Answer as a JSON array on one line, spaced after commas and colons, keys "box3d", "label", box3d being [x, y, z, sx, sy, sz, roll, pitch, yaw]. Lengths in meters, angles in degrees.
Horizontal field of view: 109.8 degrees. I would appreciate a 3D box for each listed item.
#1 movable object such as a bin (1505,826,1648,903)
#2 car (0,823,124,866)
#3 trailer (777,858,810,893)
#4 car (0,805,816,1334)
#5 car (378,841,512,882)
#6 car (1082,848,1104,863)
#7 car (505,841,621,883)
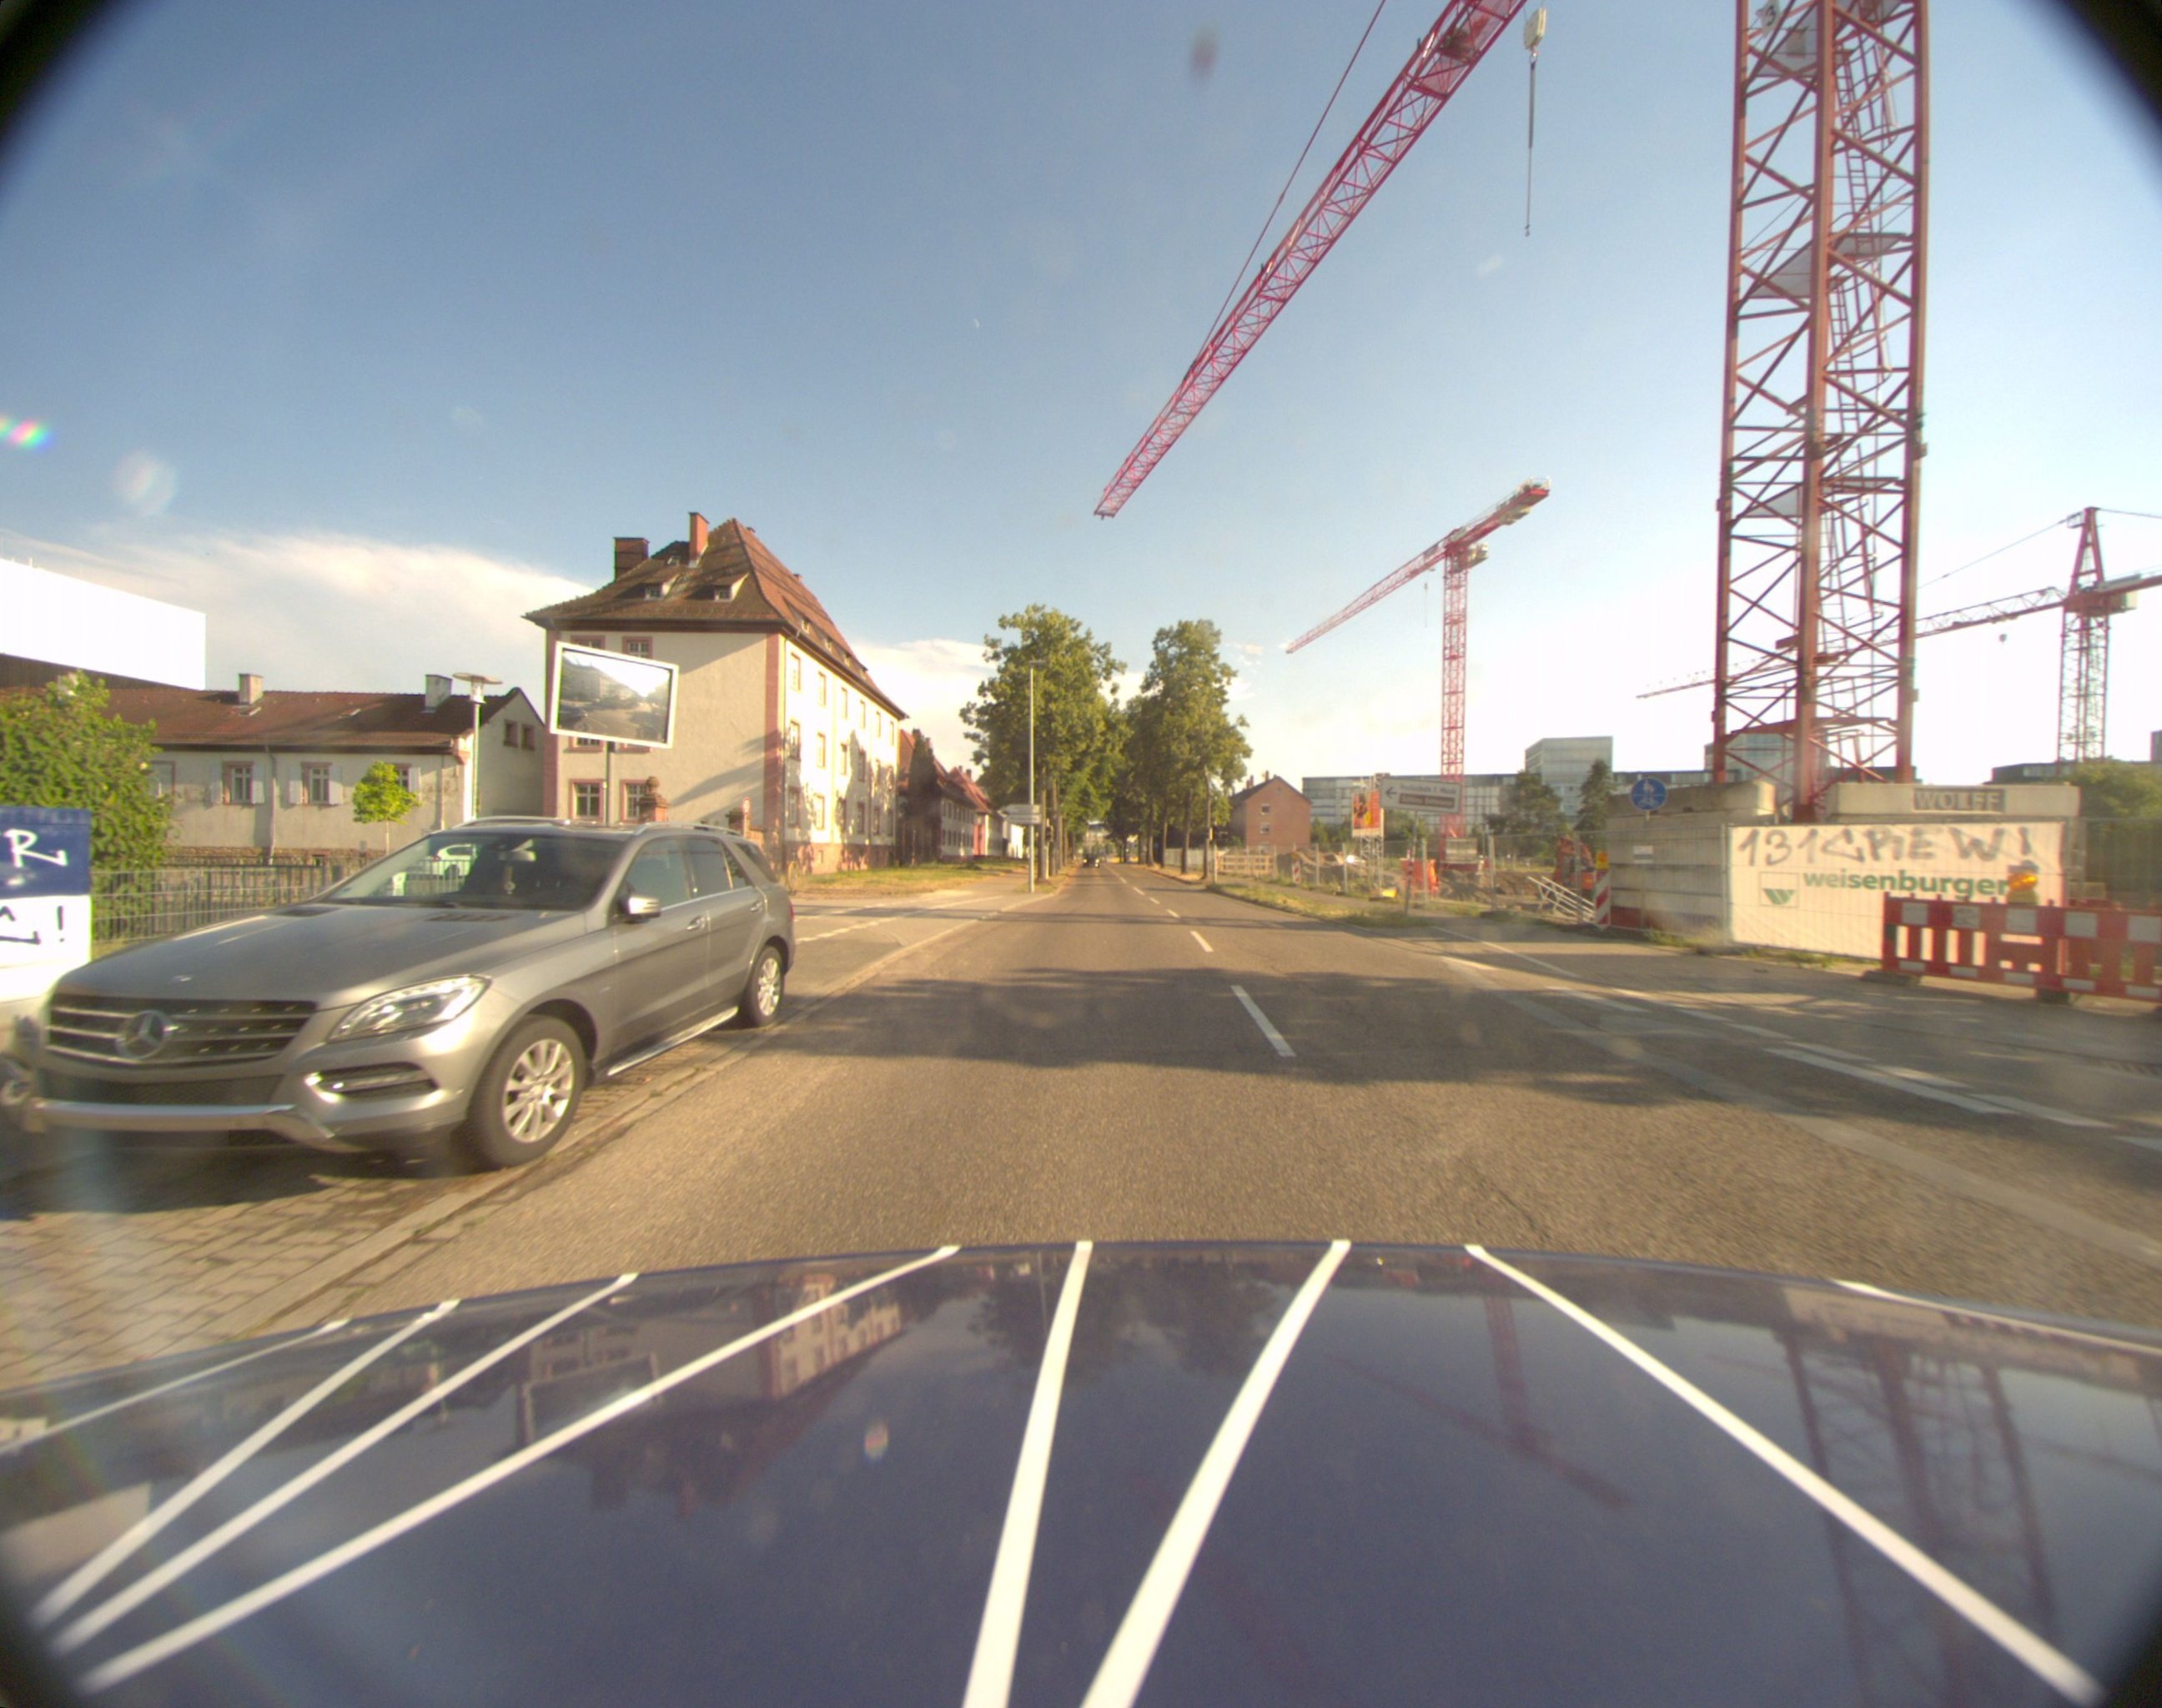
[{"box3d": [36.229, 0.569, 56.414, 4.094, 5.035, 12.227, -1, 2, 8], "label": "movable object such as a bin"}, {"box3d": [-43.340, -0.376, 31.066, 1.998, 1.703, 4.971, -1, 1, 2], "label": "car"}, {"box3d": [-9.345, 0.700, 24.737, 0.483, 1.061, 1.267, -1, 2, 3], "label": "trailer"}, {"box3d": [-3.589, 0.698, 5.051, 1.926, 1.769, 4.808, 4, 1, -1], "label": "car"}, {"box3d": [-25.281, 0.251, 30.428, 1.999, 1.445, 3.998, -1, 1, -1], "label": "car"}, {"box3d": [1.194, 0.115, 77.548, 1.776, 1.492, 3.671, 0, 0, -6], "label": "car"}, {"box3d": [-20.237, 0.261, 29.919, 1.796, 1.445, 3.998, -1, 1, -1], "label": "car"}]
